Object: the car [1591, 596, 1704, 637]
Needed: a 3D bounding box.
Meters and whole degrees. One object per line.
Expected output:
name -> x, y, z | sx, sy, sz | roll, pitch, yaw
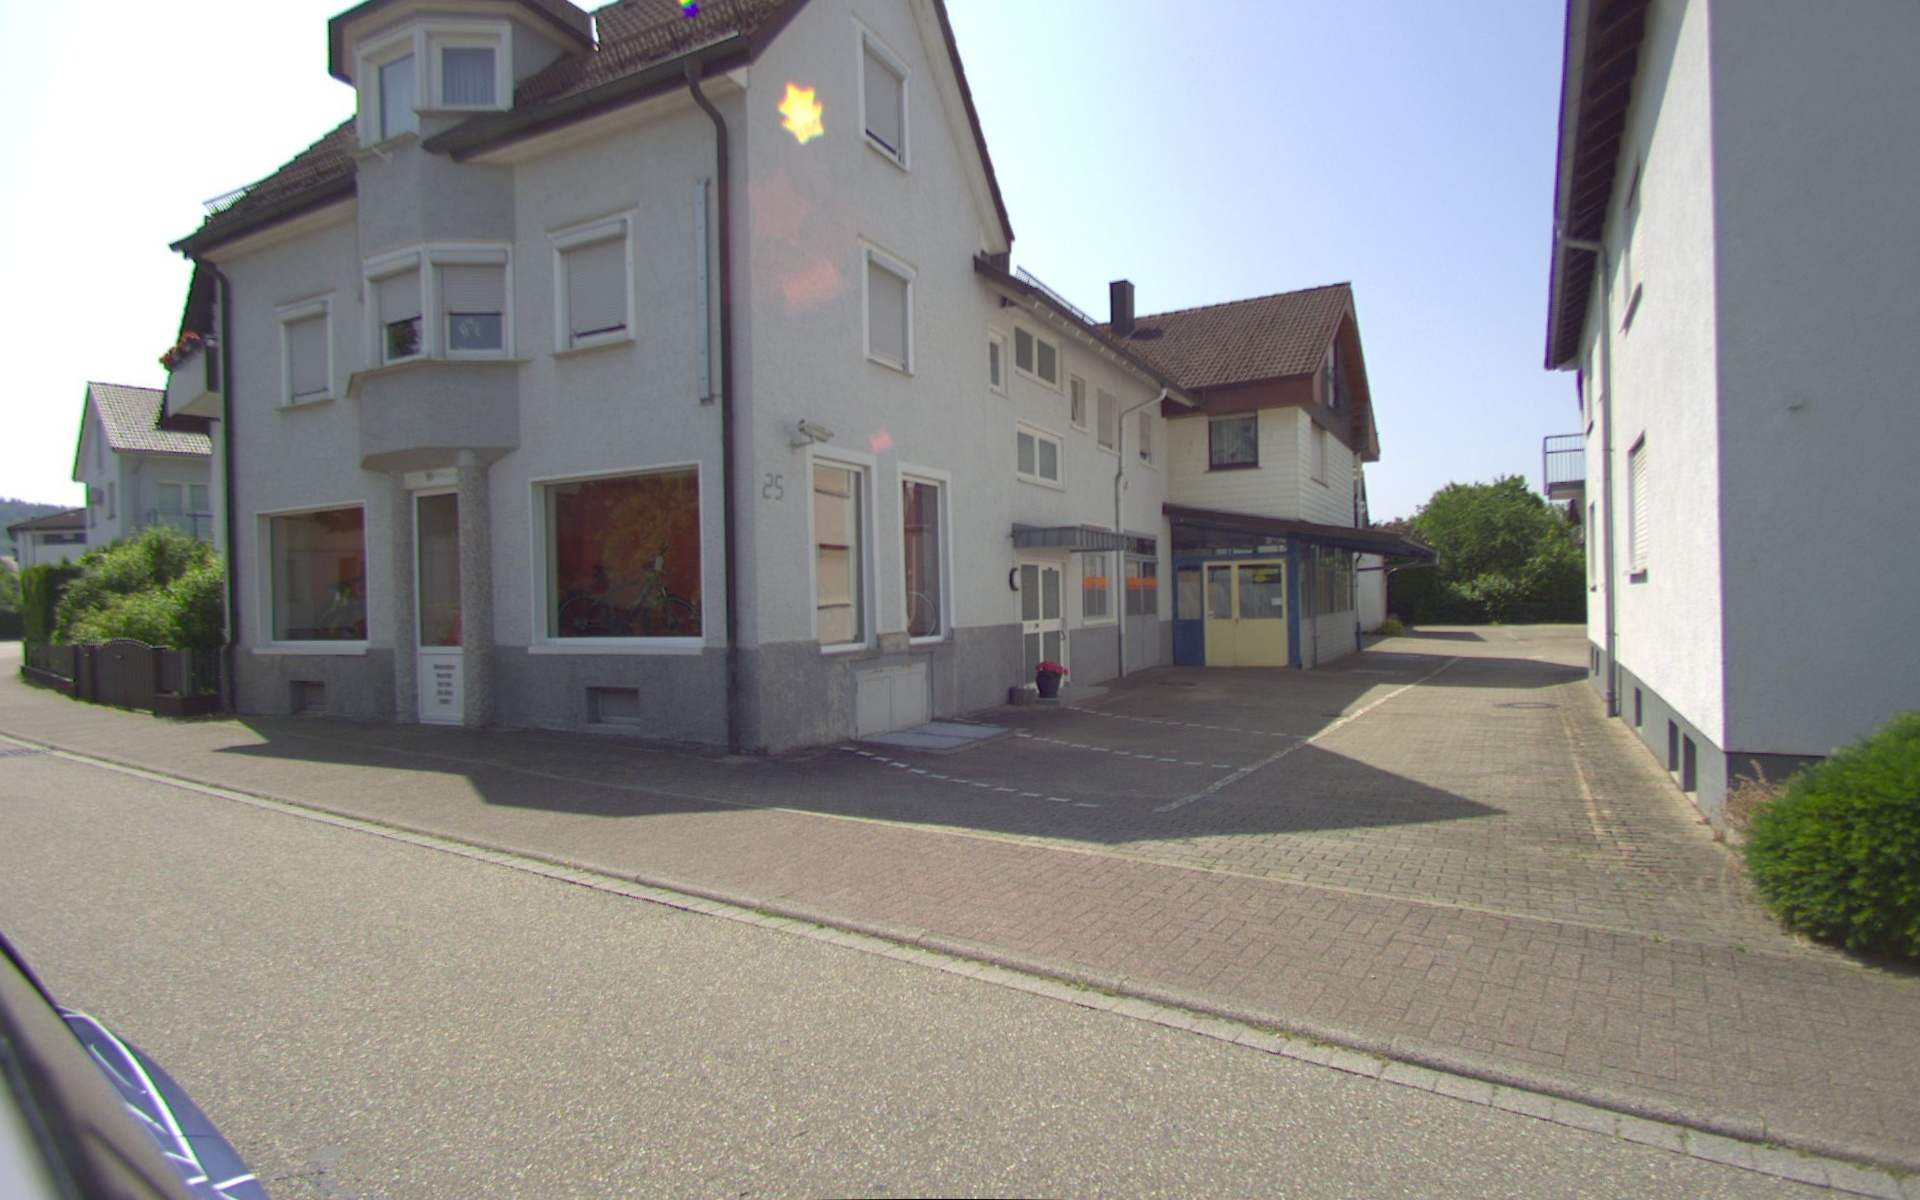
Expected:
car -> 30.347, 0.728, 44.697 | 3.995, 1.714, 1.974 | -1, -1, 39
